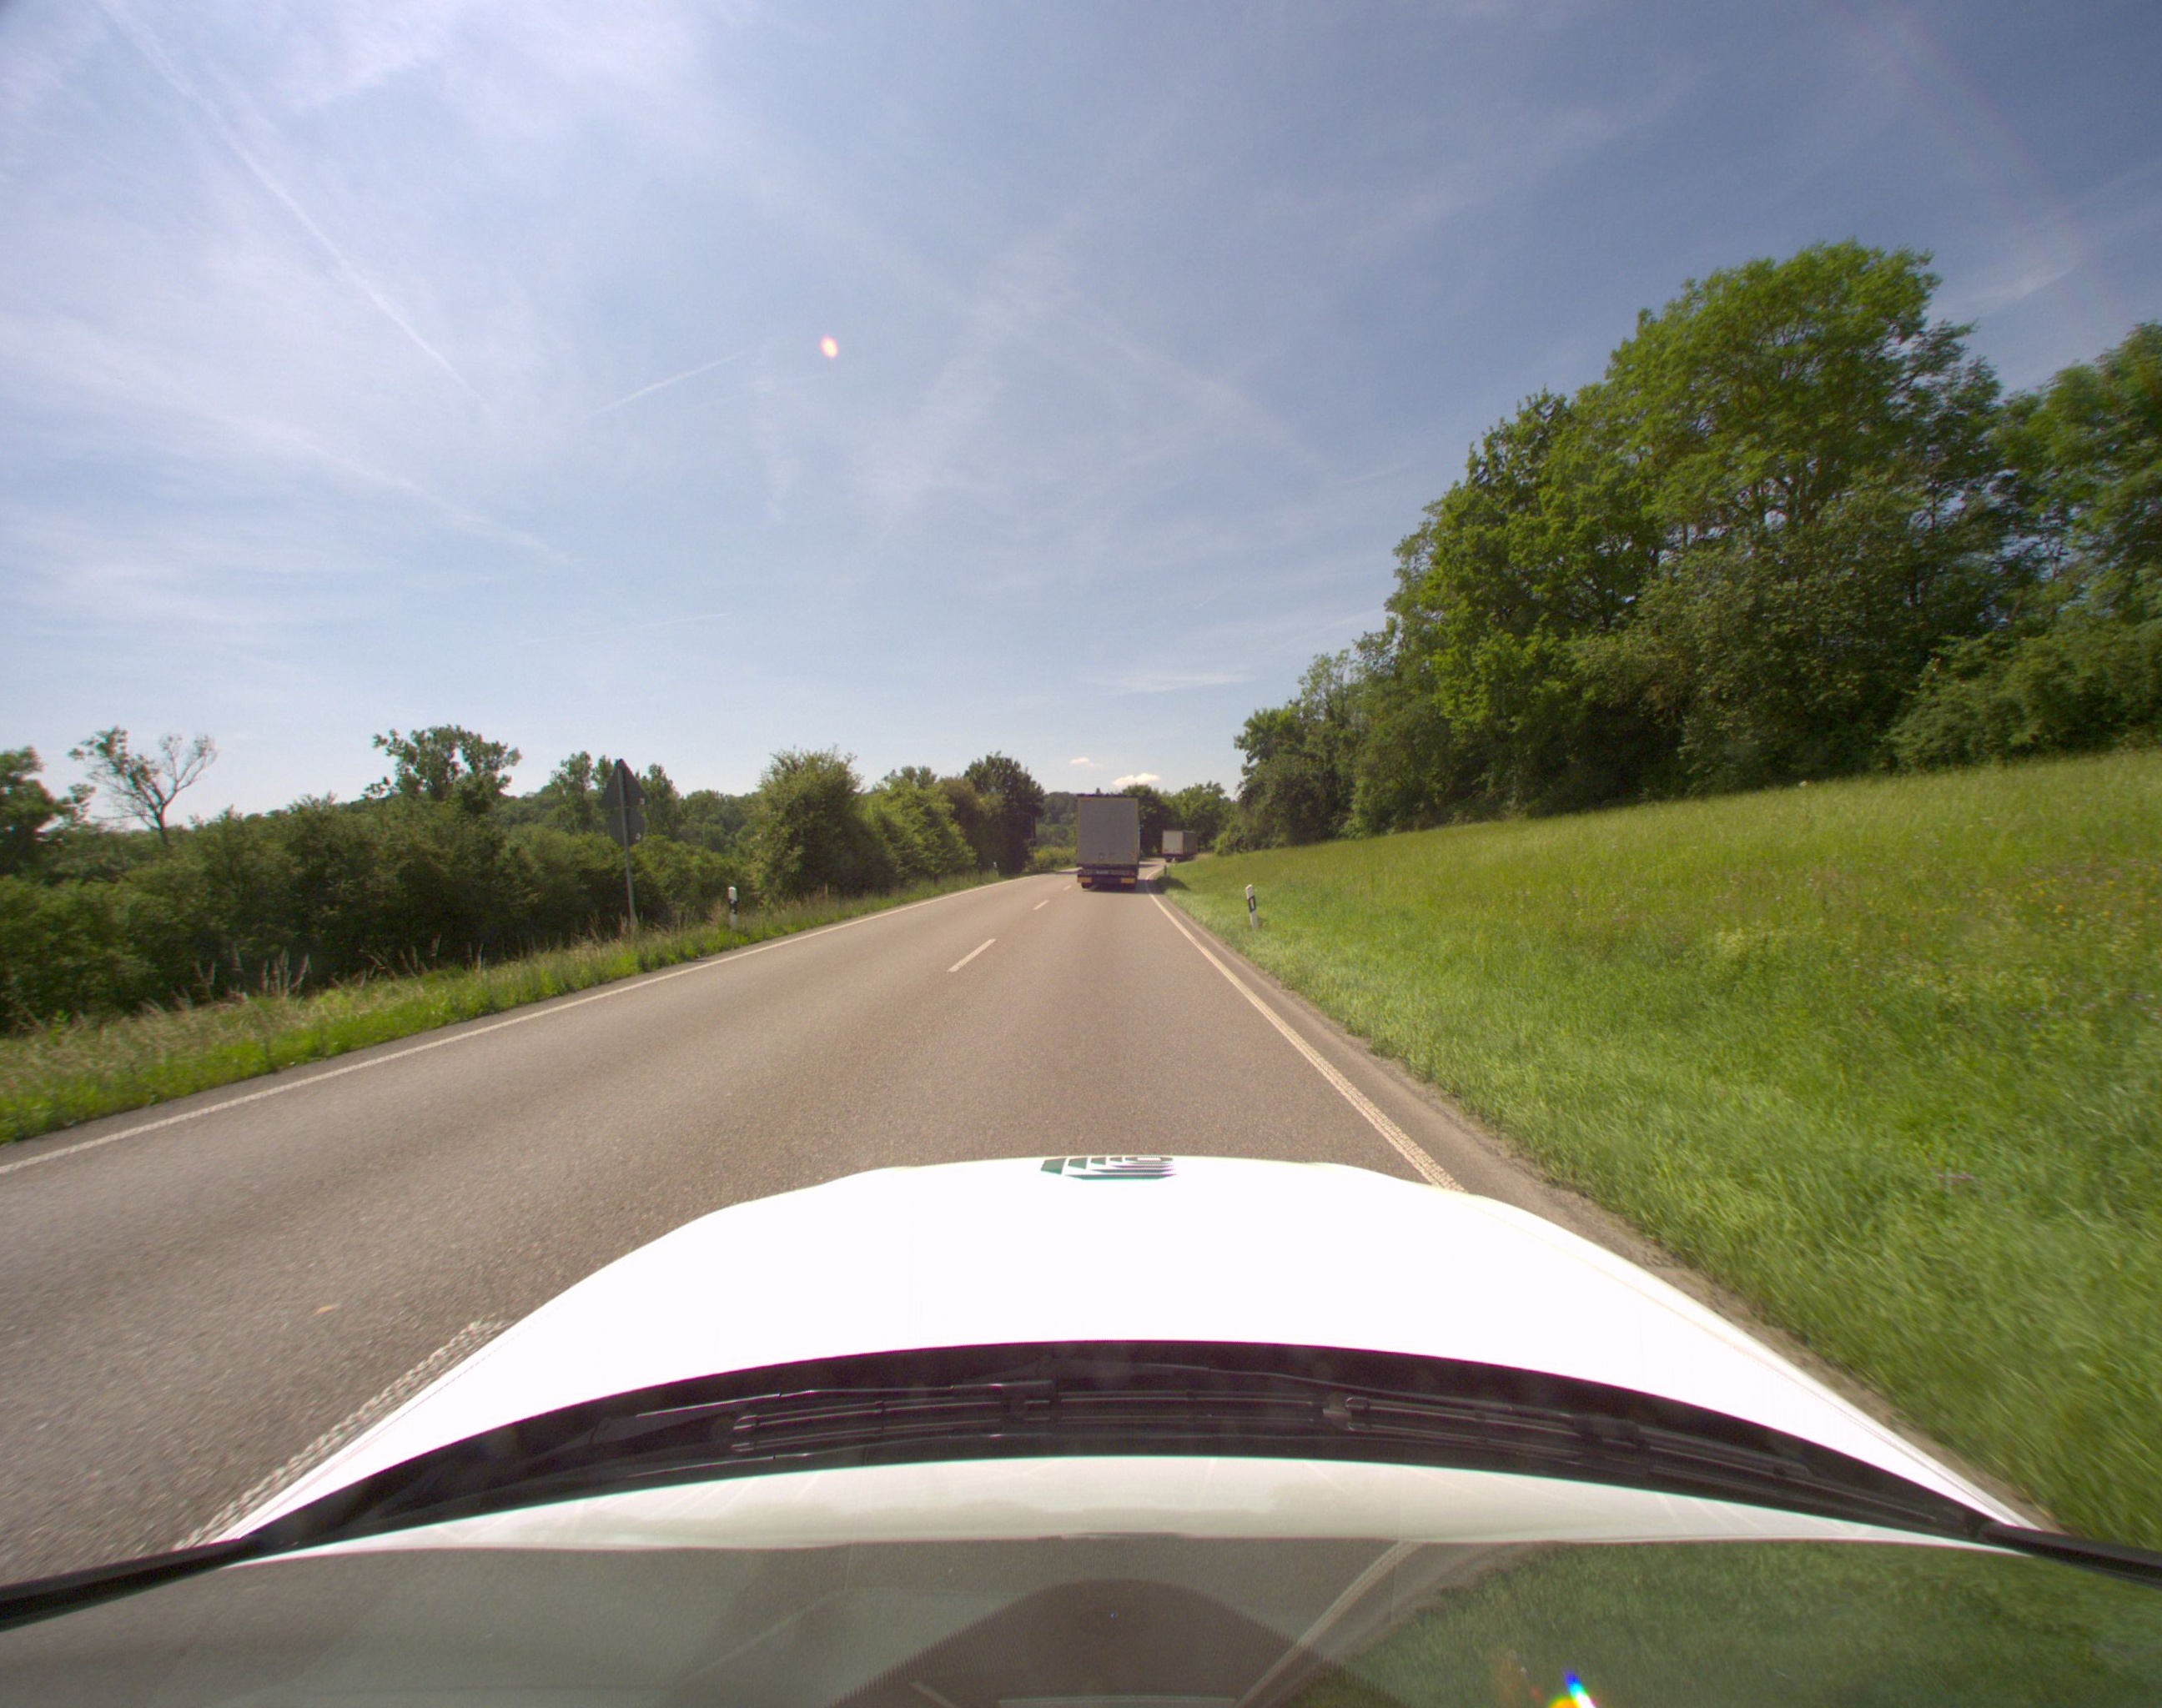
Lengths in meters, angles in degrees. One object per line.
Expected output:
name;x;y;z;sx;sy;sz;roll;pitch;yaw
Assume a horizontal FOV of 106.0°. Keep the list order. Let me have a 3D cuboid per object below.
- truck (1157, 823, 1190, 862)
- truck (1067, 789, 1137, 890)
truck;12.389;-1.535;107.339;3.085;4.705;16.638;-1;1;10
truck;1.317;-0.557;40.558;2.789;4.068;15.339;0;0;4
